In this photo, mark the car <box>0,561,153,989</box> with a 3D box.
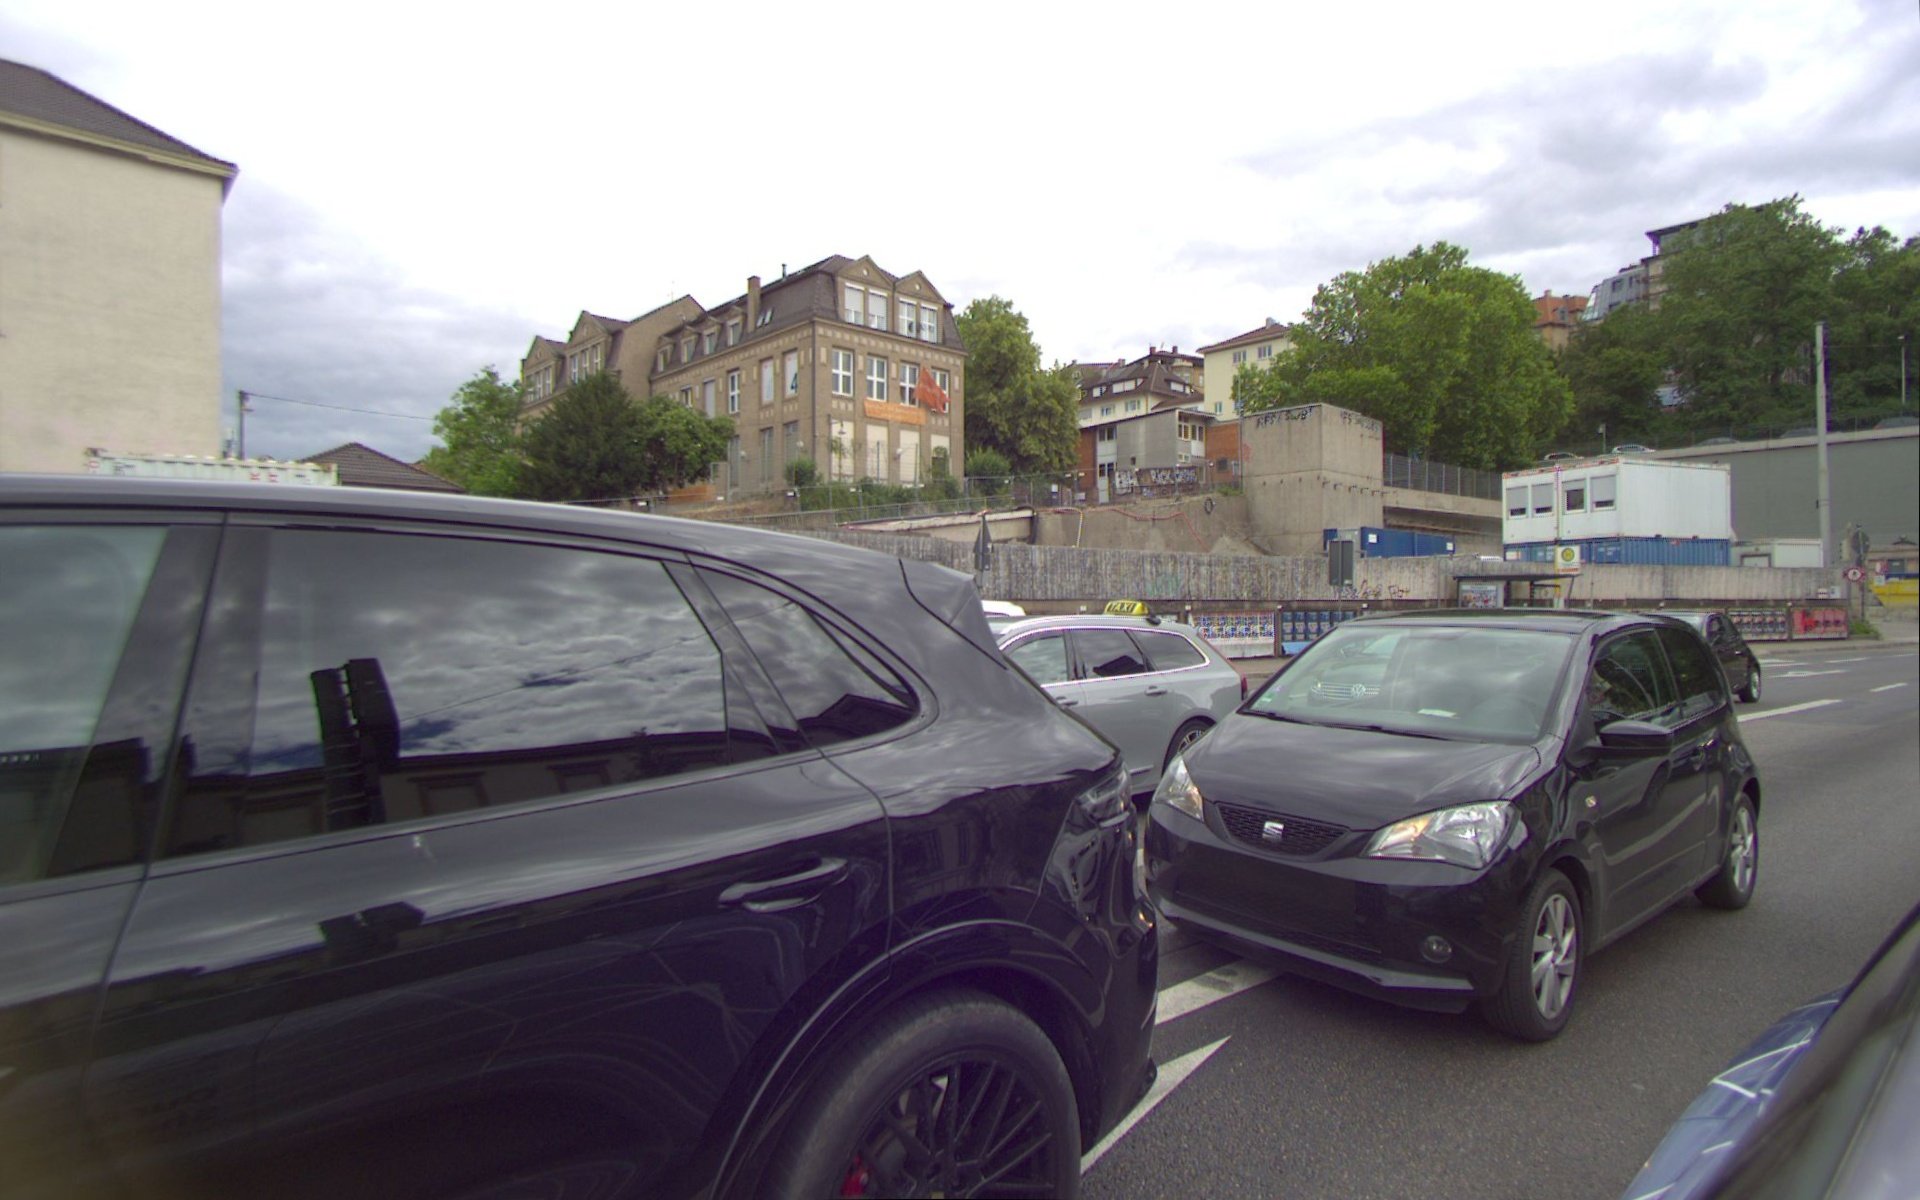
[{"bbox_3d":[-5.060,0.635,3.462,3.581,1.529,1.826,-1,0,-39],"label":"car"}]

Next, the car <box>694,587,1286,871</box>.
[{"bbox_3d":[0.401,0.656,7.345,4.142,1.484,1.825,-1,0,-40],"label":"car"}]

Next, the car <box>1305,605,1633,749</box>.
[{"bbox_3d":[6.025,0.767,11.810,4.139,1.381,1.827,1,0,-38],"label":"car"}]

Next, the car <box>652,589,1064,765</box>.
[{"bbox_3d":[-0.937,0.631,10.608,4.004,1.484,1.824,-1,0,-42],"label":"car"}]

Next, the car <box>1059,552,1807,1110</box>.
[{"bbox_3d":[2.414,0.630,4.724,3.841,1.575,1.661,-1,0,-39],"label":"car"}]

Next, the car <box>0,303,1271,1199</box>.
[{"bbox_3d":[-1.655,0.554,1.671,4.497,1.689,1.998,-1,0,-39],"label":"car"}]

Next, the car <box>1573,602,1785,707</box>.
[{"bbox_3d":[11.459,0.793,16.060,3.711,1.478,1.721,1,-2,-38],"label":"car"}]
